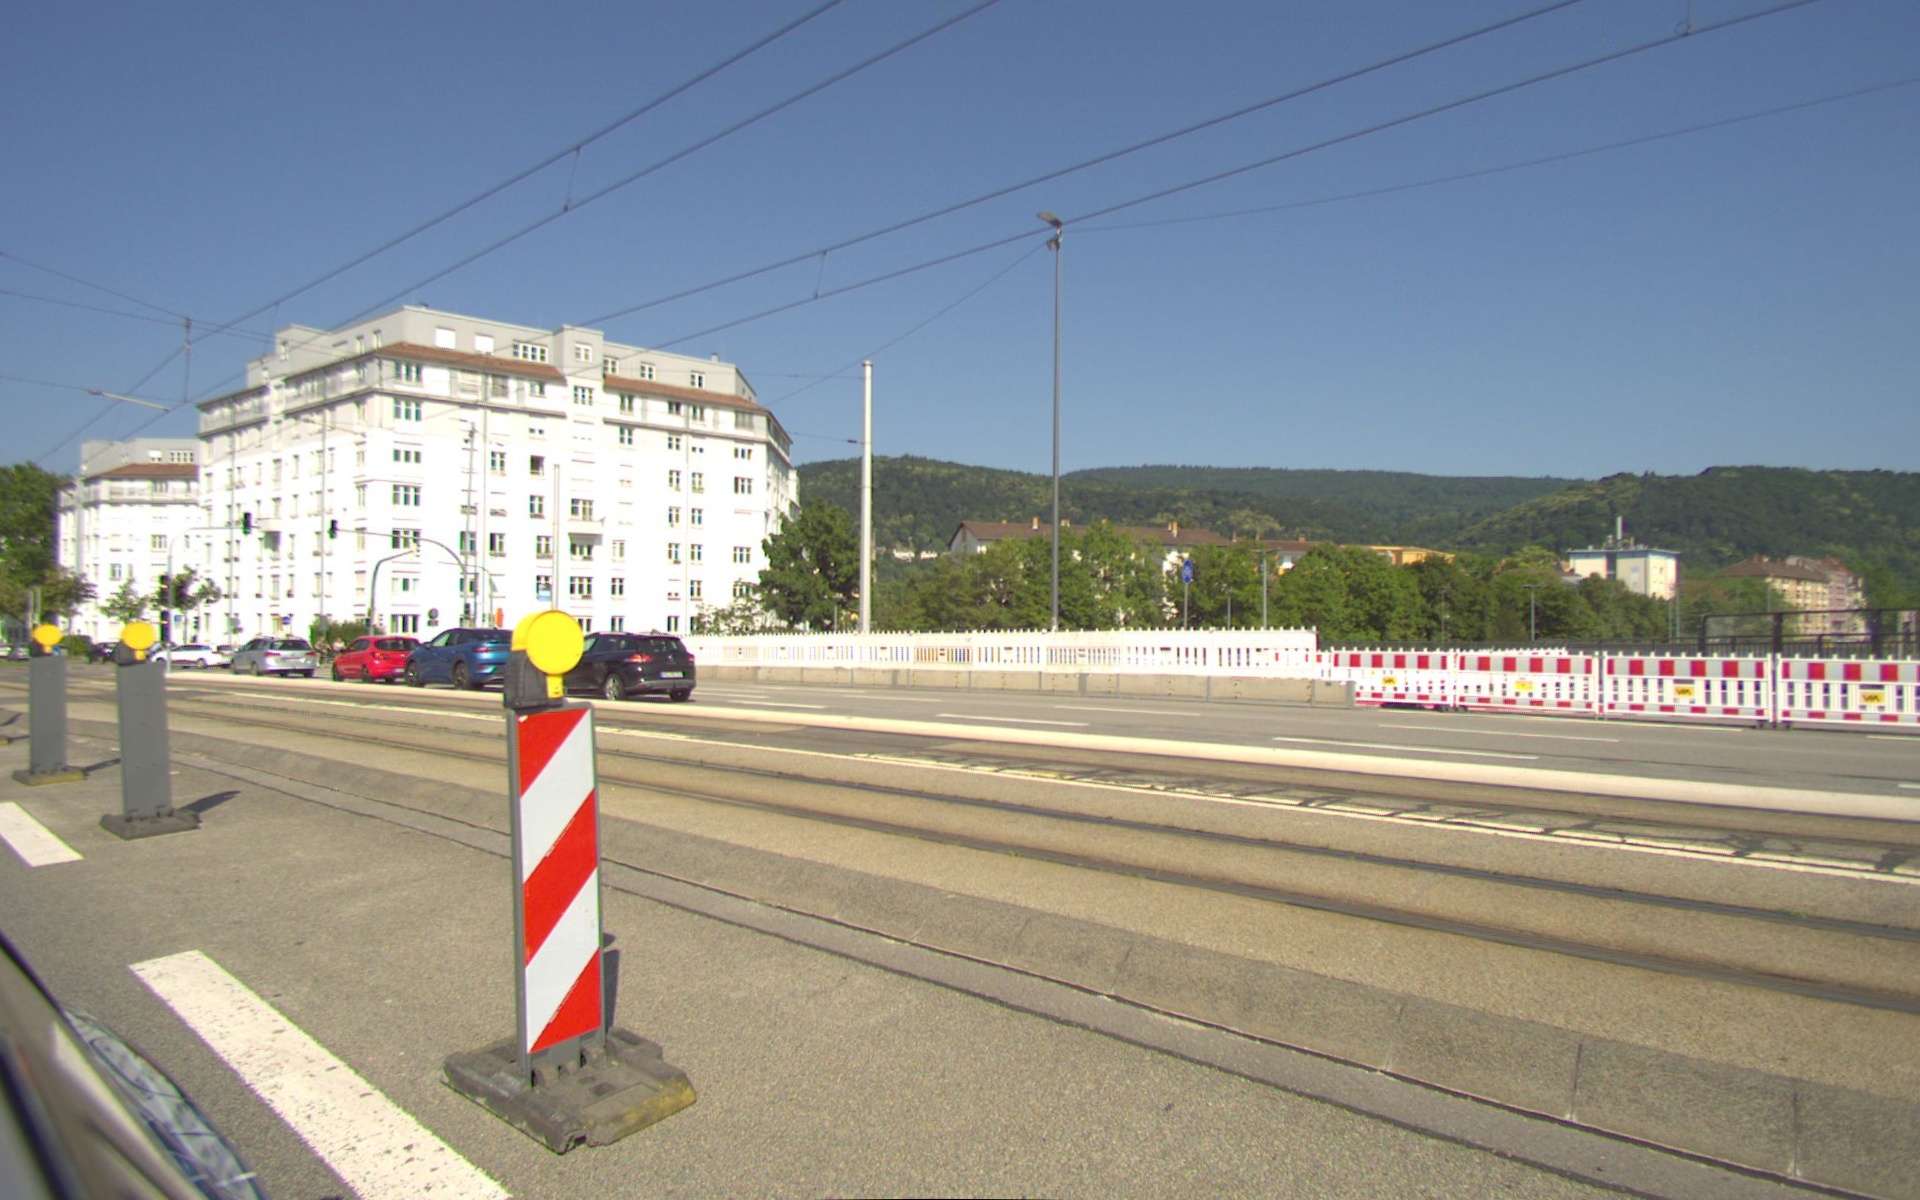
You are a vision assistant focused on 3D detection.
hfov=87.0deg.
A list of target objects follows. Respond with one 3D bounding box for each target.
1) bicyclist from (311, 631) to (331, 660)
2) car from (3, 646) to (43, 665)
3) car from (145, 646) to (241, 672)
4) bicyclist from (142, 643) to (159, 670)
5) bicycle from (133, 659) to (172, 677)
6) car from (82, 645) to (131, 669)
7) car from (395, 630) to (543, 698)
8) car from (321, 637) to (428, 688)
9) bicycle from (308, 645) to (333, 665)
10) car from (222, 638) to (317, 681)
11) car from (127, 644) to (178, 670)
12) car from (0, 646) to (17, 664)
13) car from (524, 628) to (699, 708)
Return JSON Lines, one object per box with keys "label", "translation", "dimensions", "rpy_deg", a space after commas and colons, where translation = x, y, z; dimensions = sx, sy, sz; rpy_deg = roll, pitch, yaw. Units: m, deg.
{"label": "bicyclist", "translation": [-36.549, 2.593, 57.863], "dimensions": [0.916, 1.601, 0.616], "rpy_deg": [-2, 0, 35]}
{"label": "car", "translation": [-78.165, 4.637, 84.429], "dimensions": [3.732, 1.496, 1.719], "rpy_deg": [-2, -2, 35]}
{"label": "car", "translation": [-43.133, 3.298, 56.924], "dimensions": [4.435, 1.423, 1.697], "rpy_deg": [-1, -3, 9]}
{"label": "bicyclist", "translation": [-48.300, 3.353, 60.398], "dimensions": [0.772, 1.561, 0.711], "rpy_deg": [1, -1, -40]}
{"label": "bicycle", "translation": [-48.227, 4.053, 60.451], "dimensions": [1.790, 0.998, 0.711], "rpy_deg": [1, -2, -40]}
{"label": "car", "translation": [-61.235, 4.061, 72.614], "dimensions": [3.729, 1.650, 1.721], "rpy_deg": [-2, -2, 33]}
{"label": "car", "translation": [-12.487, 1.589, 25.629], "dimensions": [4.552, 1.562, 1.652], "rpy_deg": [-2, -4, 40]}
{"label": "car", "translation": [-17.685, 1.872, 30.522], "dimensions": [3.977, 1.448, 1.518], "rpy_deg": [-2, -4, 40]}
{"label": "bicycle", "translation": [-36.588, 3.139, 57.892], "dimensions": [1.782, 1.107, 0.611], "rpy_deg": [-1, 0, 36]}
{"label": "car", "translation": [-24.809, 2.126, 36.291], "dimensions": [4.640, 1.448, 1.621], "rpy_deg": [-2, -4, 40]}
{"label": "car", "translation": [-54.056, 3.788, 67.726], "dimensions": [3.732, 1.650, 1.719], "rpy_deg": [-2, -2, 35]}
{"label": "car", "translation": [-84.216, 4.809, 88.590], "dimensions": [3.732, 1.496, 1.719], "rpy_deg": [-2, -2, 35]}
{"label": "car", "translation": [-7.343, 1.381, 21.131], "dimensions": [4.174, 1.512, 1.490], "rpy_deg": [-2, -4, 40]}
